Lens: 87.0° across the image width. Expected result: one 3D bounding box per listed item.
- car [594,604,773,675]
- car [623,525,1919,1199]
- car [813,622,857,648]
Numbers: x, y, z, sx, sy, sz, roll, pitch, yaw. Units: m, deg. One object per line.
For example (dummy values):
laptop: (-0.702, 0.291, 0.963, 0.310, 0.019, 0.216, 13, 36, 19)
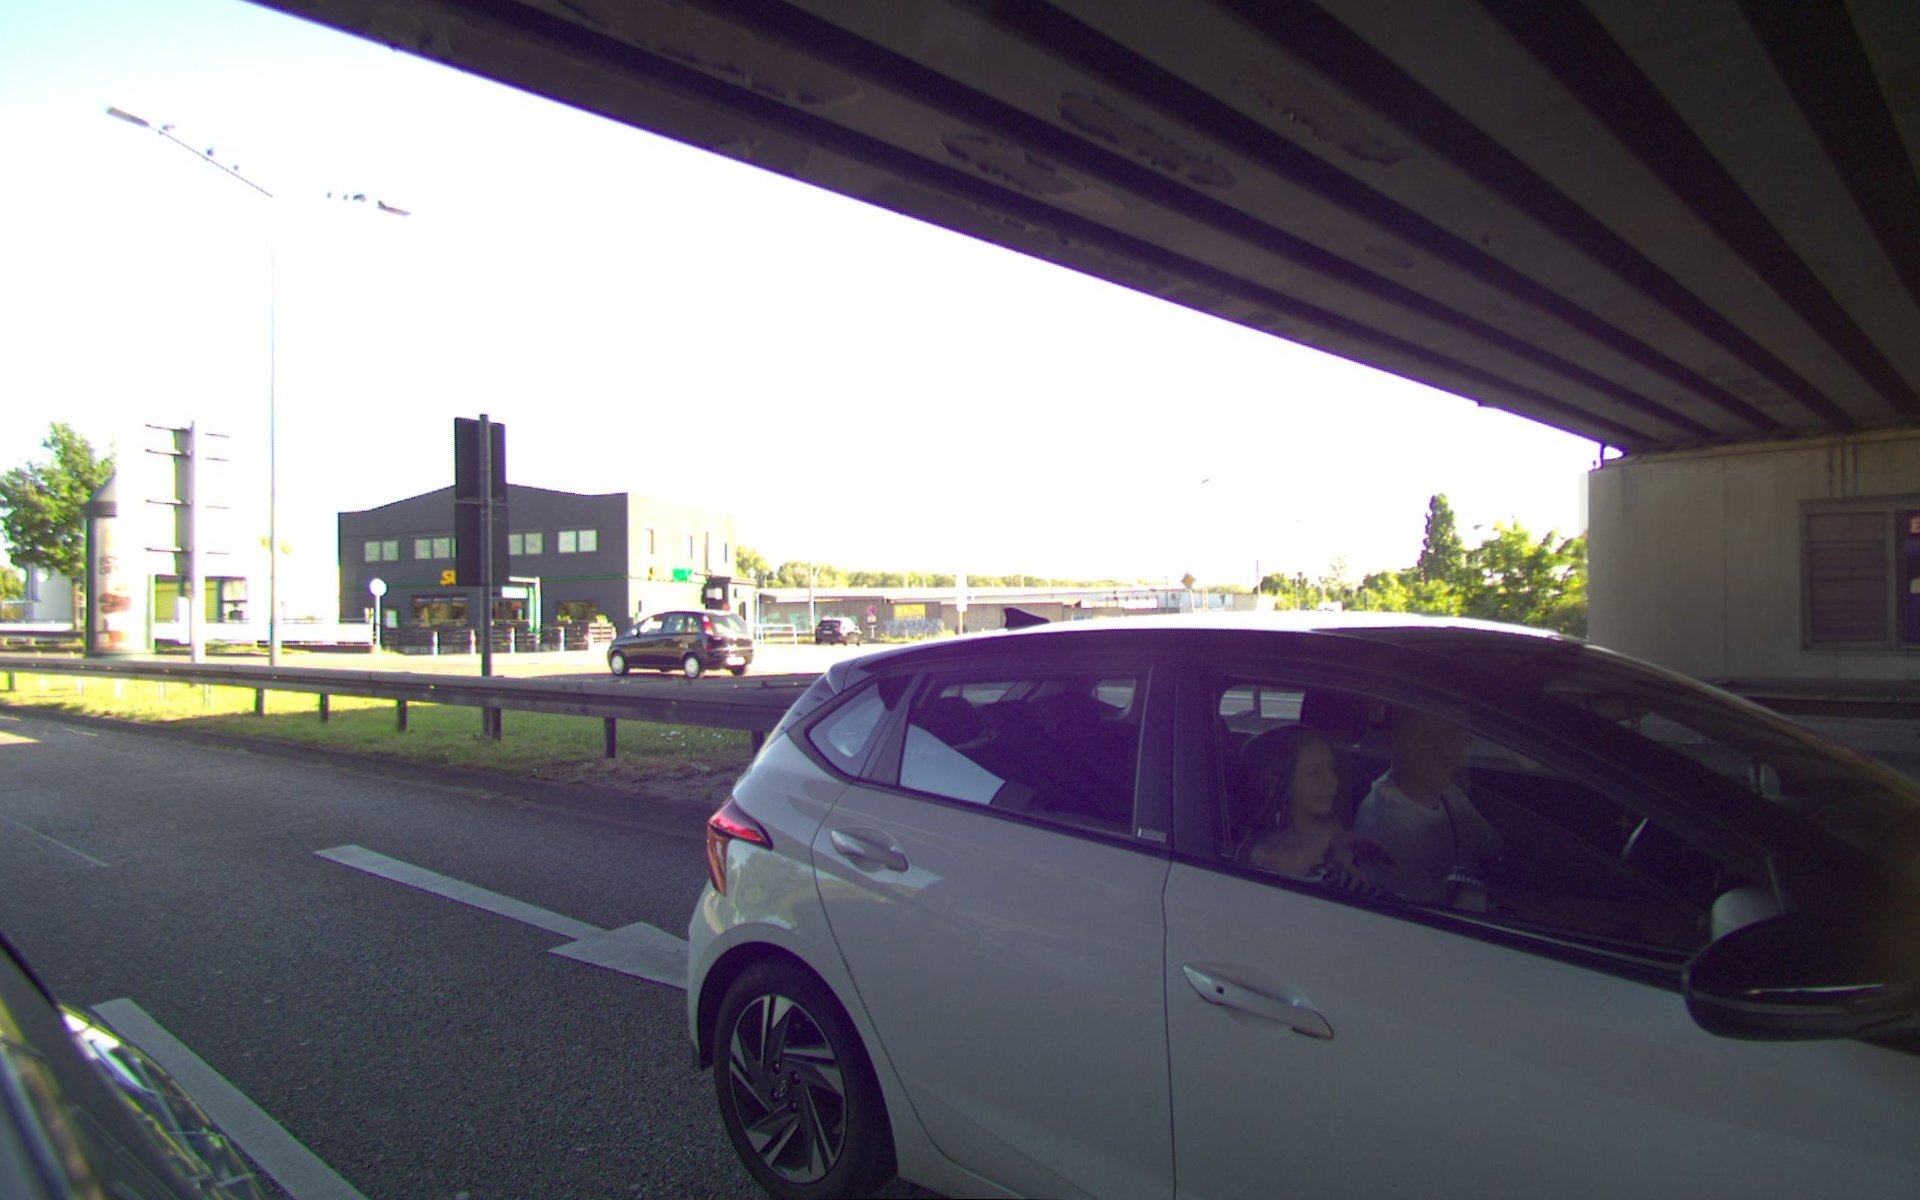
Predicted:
car: (-6.726, 0.959, 24.558, 4.165, 1.600, 1.812, -2, -2, 30)
car: (1.147, 0.681, 2.171, 3.987, 1.491, 1.716, -2, -1, 40)
car: (-6.736, 1.923, 55.032, 1.806, 1.291, 4.180, 1, -3, 1)
